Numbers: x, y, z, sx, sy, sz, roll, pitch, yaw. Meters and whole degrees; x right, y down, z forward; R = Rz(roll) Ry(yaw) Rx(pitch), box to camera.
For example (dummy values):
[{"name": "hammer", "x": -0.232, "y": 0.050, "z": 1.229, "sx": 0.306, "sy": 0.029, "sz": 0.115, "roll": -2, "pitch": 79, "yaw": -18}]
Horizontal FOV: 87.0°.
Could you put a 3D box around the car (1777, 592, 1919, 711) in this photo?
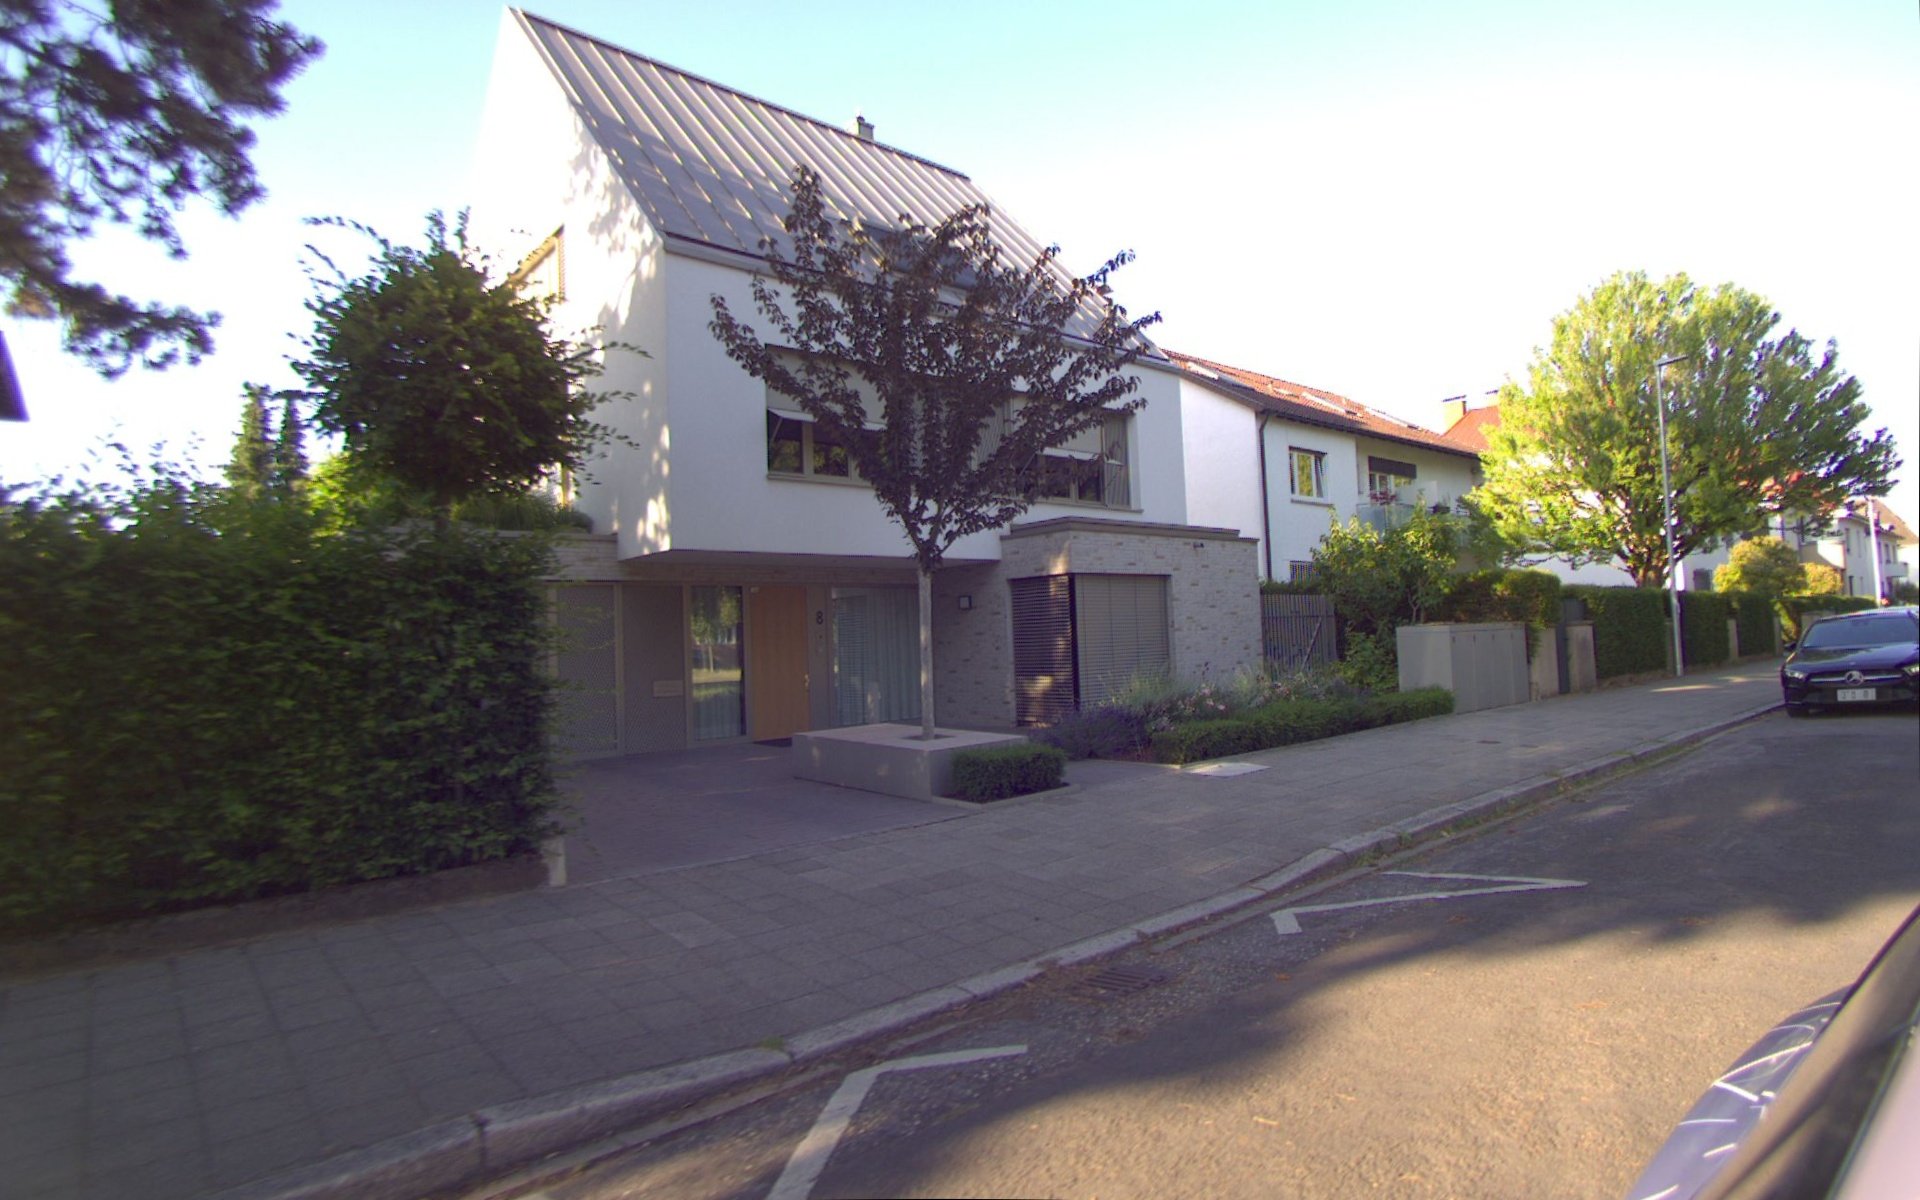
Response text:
[{"name": "car", "x": 13.808, "y": 0.694, "z": 15.172, "sx": 4.217, "sy": 1.496, "sz": 1.749, "roll": -1, "pitch": -5, "yaw": -44}]

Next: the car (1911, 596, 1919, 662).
[{"name": "car", "x": 25.060, "y": 0.569, "z": 24.956, "sx": 4.594, "sy": 1.511, "sz": 1.795, "roll": -2, "pitch": -4, "yaw": -41}]

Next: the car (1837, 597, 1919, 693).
[{"name": "car", "x": 17.548, "y": 0.733, "z": 18.594, "sx": 3.865, "sy": 1.502, "sz": 1.691, "roll": -1, "pitch": -8, "yaw": -45}]
